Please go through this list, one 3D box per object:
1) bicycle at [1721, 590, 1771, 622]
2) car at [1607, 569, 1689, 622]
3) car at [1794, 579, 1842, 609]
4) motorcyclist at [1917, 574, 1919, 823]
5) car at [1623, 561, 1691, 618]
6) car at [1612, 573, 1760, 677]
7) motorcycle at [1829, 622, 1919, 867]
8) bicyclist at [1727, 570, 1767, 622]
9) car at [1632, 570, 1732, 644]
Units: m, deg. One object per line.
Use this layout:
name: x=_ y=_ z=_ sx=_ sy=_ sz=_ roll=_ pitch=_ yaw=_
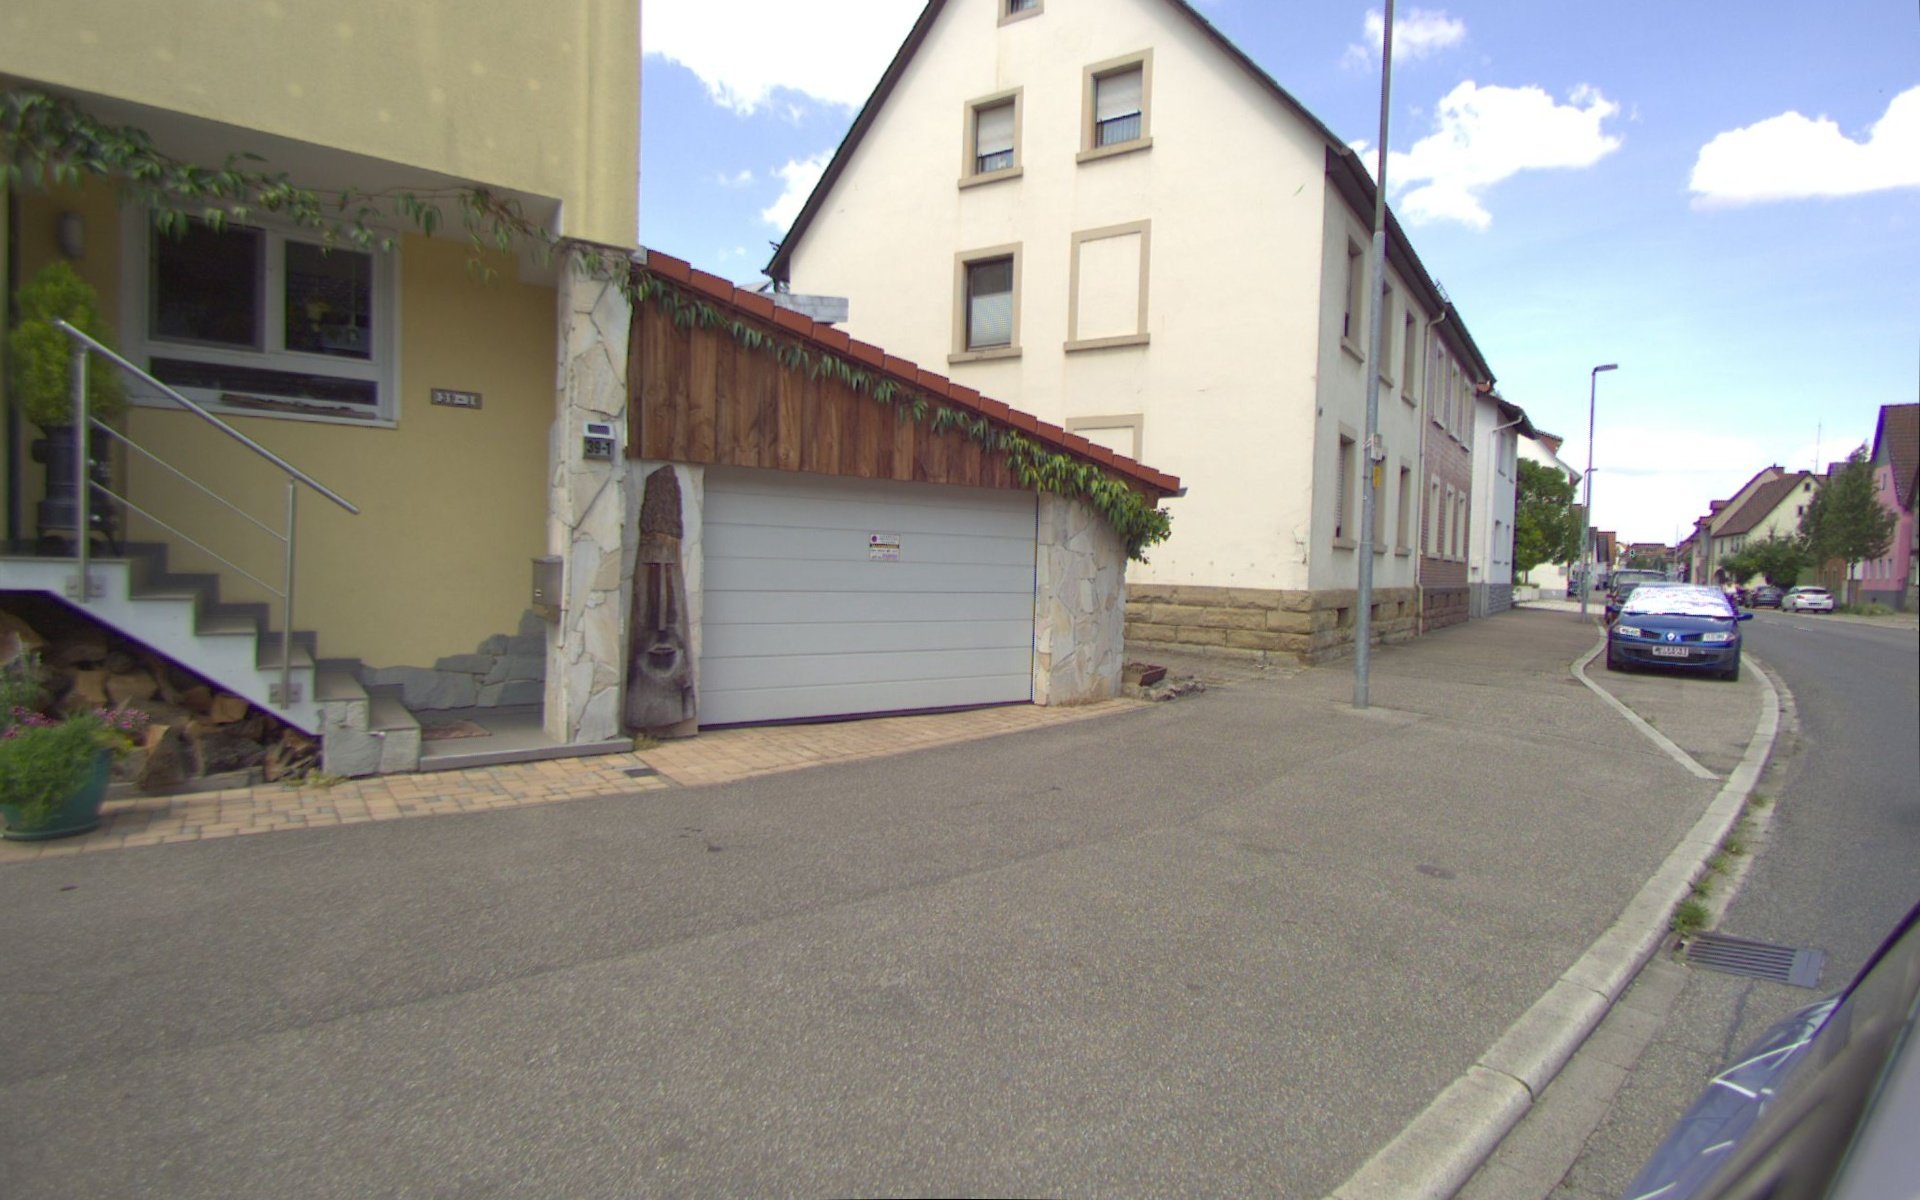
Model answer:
bicycle: x=26.464 y=0.199 z=34.065 sx=1.890 sy=1.024 sz=0.933 roll=1 pitch=0 yaw=-40
car: x=22.802 y=-0.180 z=33.682 sx=1.649 sy=1.668 sz=3.965 roll=0 pitch=1 yaw=26
car: x=47.442 y=-0.344 z=56.016 sx=1.674 sy=1.549 sz=3.456 roll=1 pitch=2 yaw=35
motorcyclist: x=6.449 y=0.559 z=5.940 sx=0.783 sy=1.619 sz=1.002 roll=-1 pitch=2 yaw=-28
car: x=25.859 y=-0.446 z=37.686 sx=1.918 sy=1.939 sz=5.186 roll=1 pitch=2 yaw=33
car: x=12.169 y=0.312 z=16.857 sx=1.720 sy=1.402 sz=3.944 roll=3 pitch=4 yaw=39
motorcycle: x=5.971 y=0.763 z=5.675 sx=2.060 sy=1.256 sz=0.987 roll=0 pitch=0 yaw=-28
bicyclist: x=26.542 y=-0.160 z=34.126 sx=0.747 sy=1.709 sz=0.909 roll=-2 pitch=2 yaw=-39
car: x=16.995 y=0.173 z=23.854 sx=1.763 sy=1.549 sz=3.947 roll=2 pitch=0 yaw=36
